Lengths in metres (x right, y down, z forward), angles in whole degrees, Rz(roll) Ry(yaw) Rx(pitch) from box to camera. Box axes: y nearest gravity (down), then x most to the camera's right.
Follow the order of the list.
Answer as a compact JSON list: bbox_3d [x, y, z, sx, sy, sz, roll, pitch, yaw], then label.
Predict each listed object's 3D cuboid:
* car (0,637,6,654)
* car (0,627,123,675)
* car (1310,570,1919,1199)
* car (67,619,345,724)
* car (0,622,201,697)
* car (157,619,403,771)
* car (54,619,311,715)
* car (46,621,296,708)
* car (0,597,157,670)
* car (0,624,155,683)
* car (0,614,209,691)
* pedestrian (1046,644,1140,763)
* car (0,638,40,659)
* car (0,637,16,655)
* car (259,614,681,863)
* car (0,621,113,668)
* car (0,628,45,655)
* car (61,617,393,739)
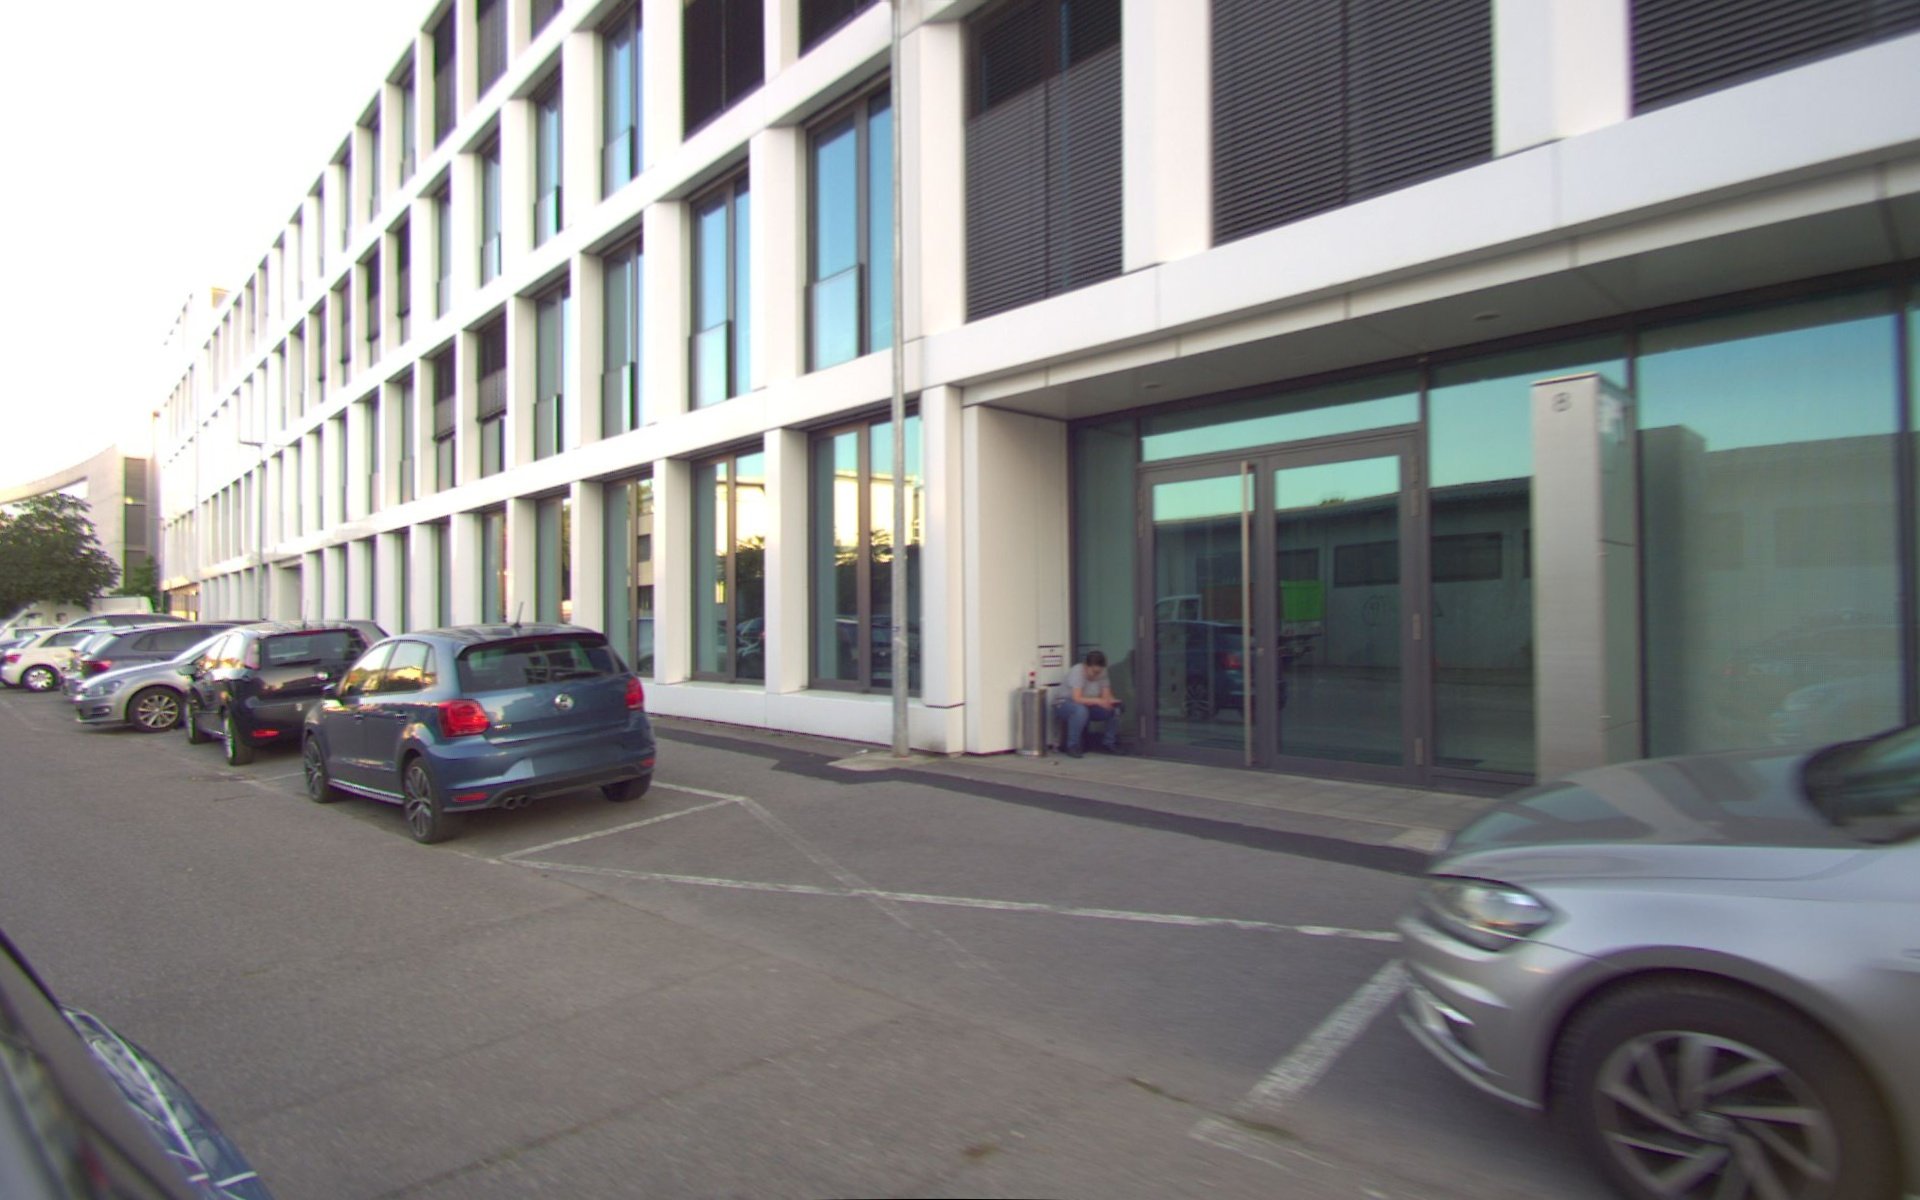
[{"bbox_3d":[-81.357,3.856,83.378,1.797,1.371,3.765,-2,0,38],"label":"car"},{"bbox_3d":[-31.740,1.763,35.390,1.708,1.507,3.666,-3,-2,45],"label":"car"},{"bbox_3d":[3.122,0.668,2.074,4.182,1.490,1.693,-2,1,41],"label":"car"},{"bbox_3d":[-12.833,1.146,17.345,3.612,1.523,1.688,-1,-2,-45],"label":"car"},{"bbox_3d":[-20.167,1.352,23.755,3.622,1.523,1.698,-1,-1,-42],"label":"car"},{"bbox_3d":[-8.453,1.040,12.421,4.203,1.449,1.630,-2,1,44],"label":"car"},{"bbox_3d":[-14.410,1.174,18.863,3.612,1.523,1.688,-1,-2,-45],"label":"car"},{"bbox_3d":[-16.239,1.266,20.929,3.918,1.523,1.797,-1,-2,-44],"label":"car"},{"bbox_3d":[-34.596,1.269,39.165,5.318,2.653,2.080,-1,-2,-44],"label":"car"},{"bbox_3d":[-26.270,1.549,29.840,1.693,1.534,3.740,-3,-1,43],"label":"car"},{"bbox_3d":[-21.962,1.291,25.625,4.562,1.719,2.007,-1,-1,-42],"label":"car"},{"bbox_3d":[1.224,0.926,9.323,0.580,1.026,0.630,1,-2,-41],"label":"pedestrian"},{"bbox_3d":[-69.648,3.583,73.878,1.726,1.435,3.605,-2,0,44],"label":"car"},{"bbox_3d":[-79.101,3.790,81.870,1.797,1.371,3.765,-2,0,38],"label":"car"},{"bbox_3d":[-4.186,0.930,8.308,4.184,1.449,1.630,-2,1,42],"label":"car"},{"bbox_3d":[-38.476,1.866,42.638,1.815,1.831,4.066,-3,-1,41],"label":"car"},{"bbox_3d":[-73.588,3.236,77.480,1.887,1.895,5.020,-2,0,38],"label":"car"},{"bbox_3d":[-11.018,1.087,15.370,3.881,1.523,1.689,-1,-2,-44],"label":"car"}]
